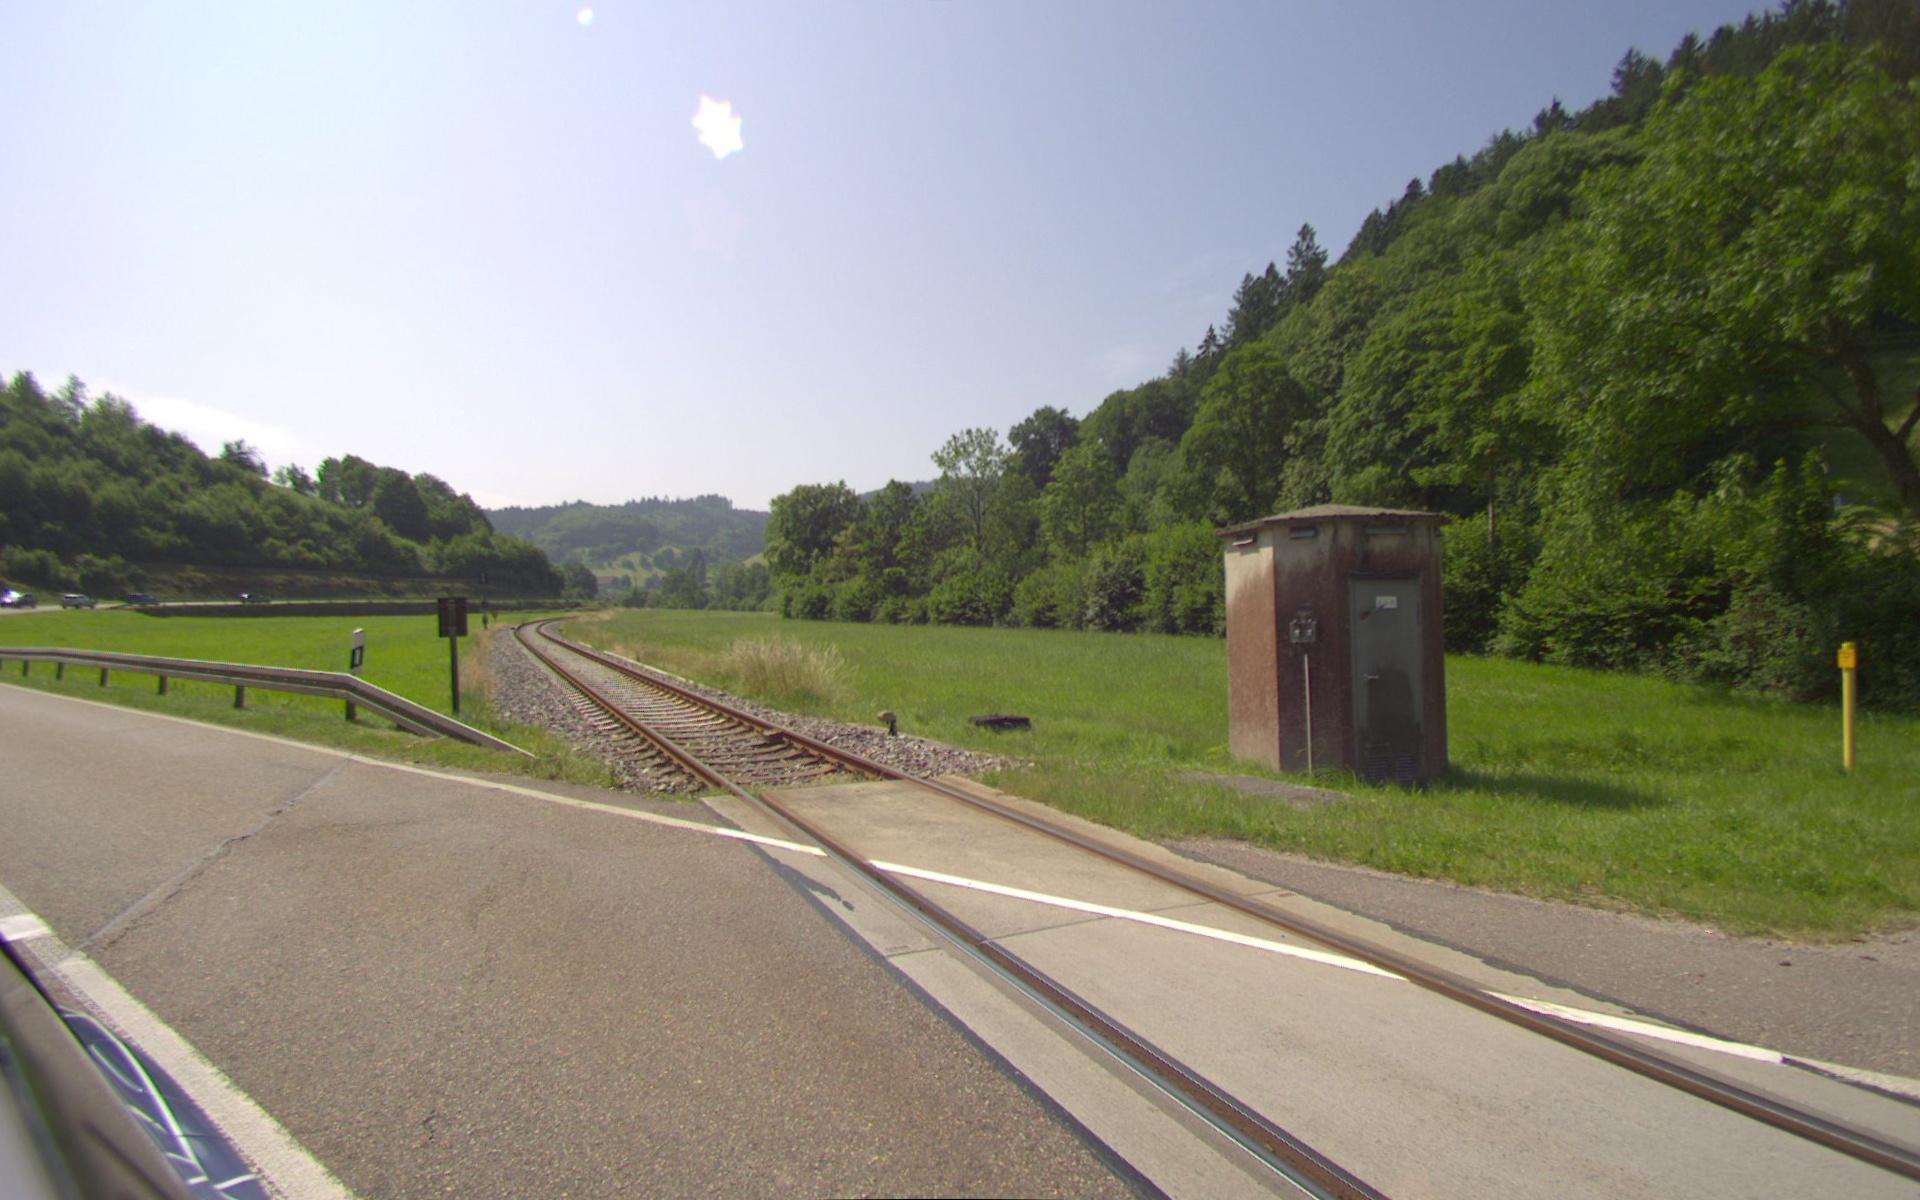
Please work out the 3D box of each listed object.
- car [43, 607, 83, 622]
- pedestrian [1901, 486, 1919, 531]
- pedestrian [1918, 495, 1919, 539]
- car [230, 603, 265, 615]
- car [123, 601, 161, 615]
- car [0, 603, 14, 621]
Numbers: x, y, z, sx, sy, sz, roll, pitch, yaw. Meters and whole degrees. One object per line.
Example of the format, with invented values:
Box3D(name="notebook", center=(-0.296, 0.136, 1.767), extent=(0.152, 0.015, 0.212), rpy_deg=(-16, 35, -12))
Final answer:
Box3D(name="car", center=(-107.846, 1.722, 121.744), extent=(1.889, 1.727, 4.171), rpy_deg=(1, -2, -15))
Box3D(name="pedestrian", center=(52.822, -5.053, 55.887), extent=(1.071, 2.384, 1.070), rpy_deg=(-1, -2, 37))
Box3D(name="pedestrian", center=(54.118, -4.657, 56.285), extent=(1.071, 2.384, 1.070), rpy_deg=(-1, -2, 37))
Box3D(name="car", center=(-110.415, 1.453, 156.894), extent=(1.899, 1.482, 4.502), rpy_deg=(-5, -3, 5))
Box3D(name="car", center=(-109.282, 1.094, 135.207), extent=(1.842, 1.636, 4.518), rpy_deg=(3, 1, -7))
Box3D(name="car", center=(-109.219, 1.331, 114.799), extent=(1.966, 2.029, 4.012), rpy_deg=(1, -2, -31))
